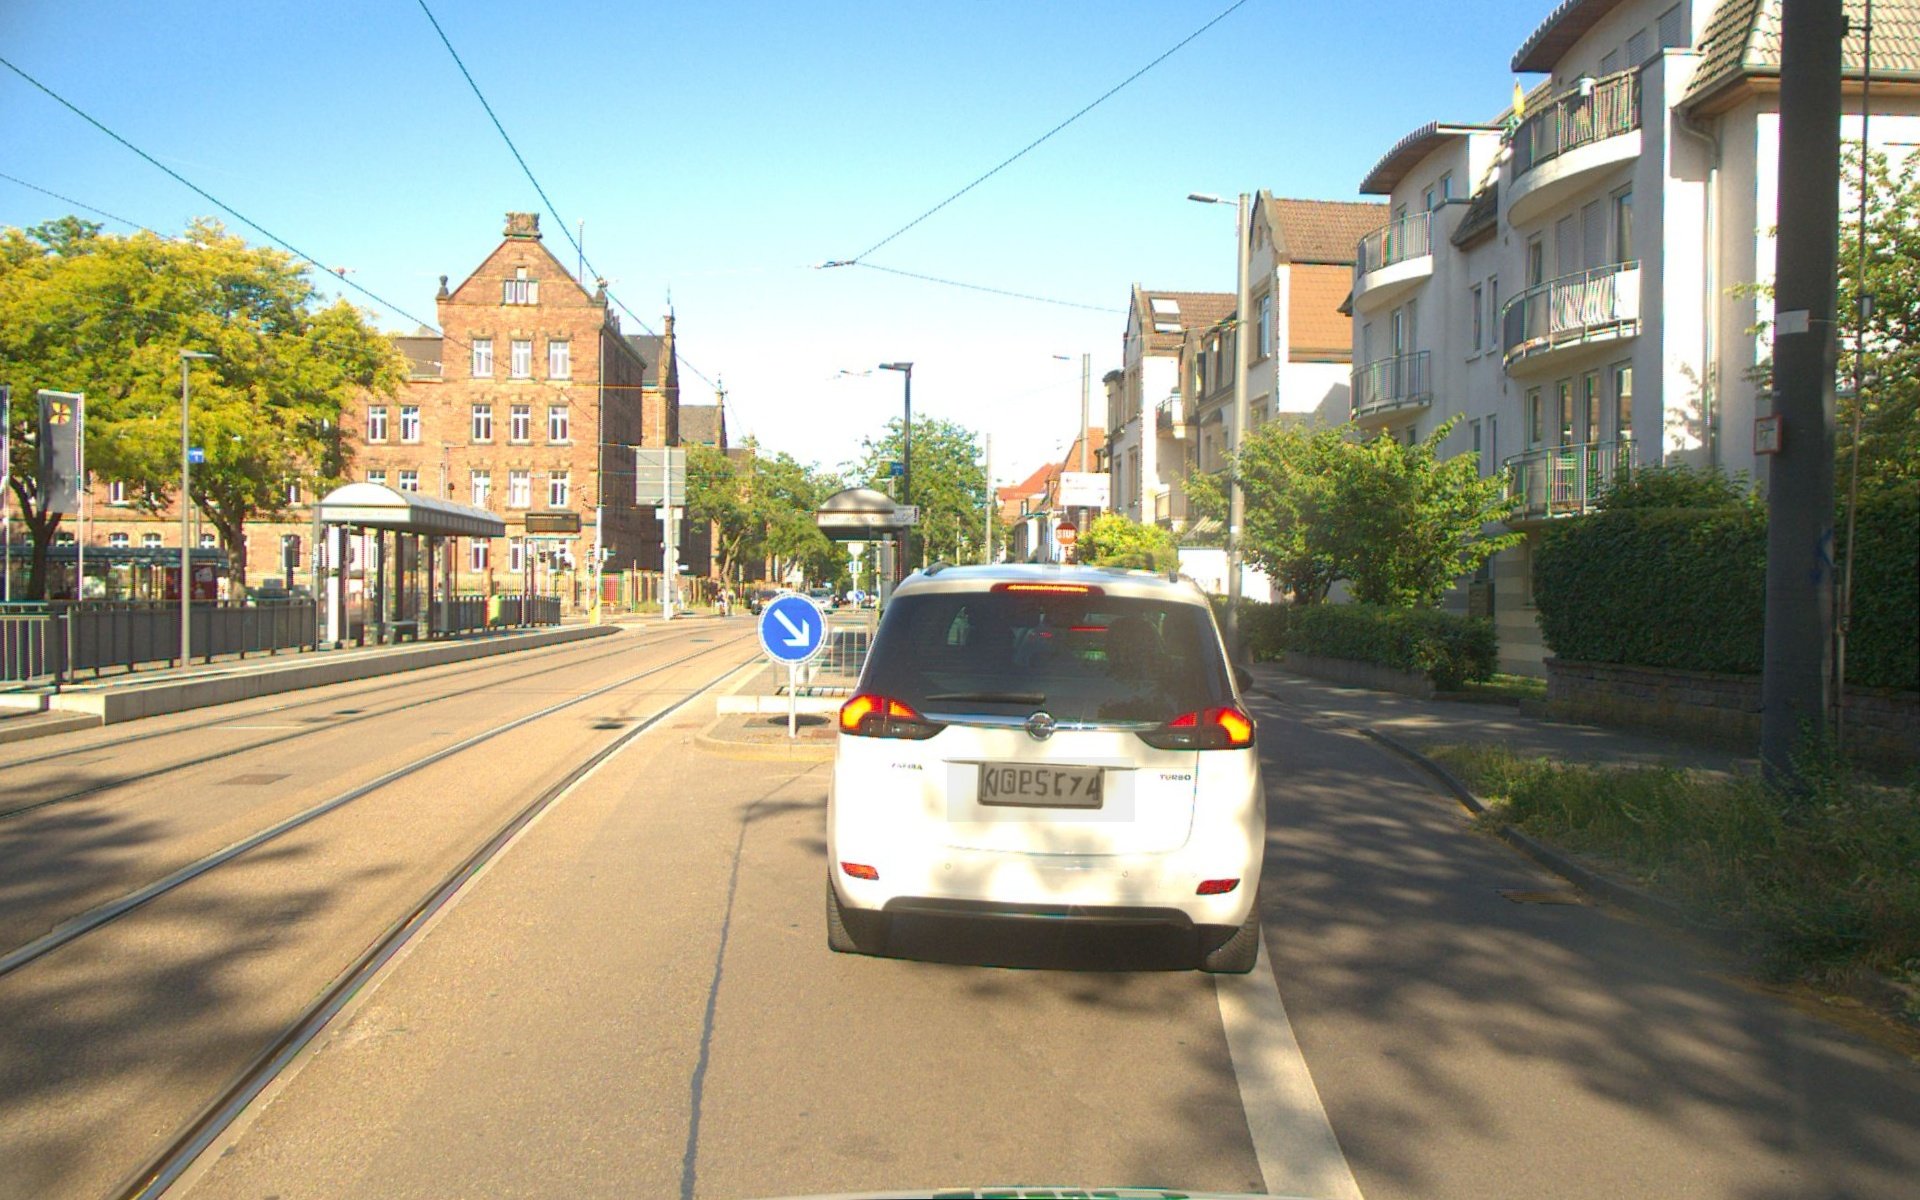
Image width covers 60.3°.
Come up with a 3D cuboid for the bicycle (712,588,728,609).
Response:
[{"bbox_3d":[-14.887,-0.103,102.756,0.805,1.319,2.675,0,0,-4],"label":"bicycle"}]

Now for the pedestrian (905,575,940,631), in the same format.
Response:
[{"bbox_3d":[-1.415,0.108,61.890,1.135,2.049,1.116,0,0,-12],"label":"pedestrian"}]

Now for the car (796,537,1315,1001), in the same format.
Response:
[{"bbox_3d":[0.522,0.652,8.042,1.852,1.639,4.231,0,-2,5],"label":"car"}]

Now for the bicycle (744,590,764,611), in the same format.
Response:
[{"bbox_3d":[-13.172,0.055,105.659,1.125,1.319,2.858,0,0,-4],"label":"bicycle"}]

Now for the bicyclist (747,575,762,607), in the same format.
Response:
[{"bbox_3d":[-13.138,-0.576,105.657,0.932,2.049,0.822,0,0,-6],"label":"bicyclist"}]

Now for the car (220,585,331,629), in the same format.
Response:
[{"bbox_3d":[-28.986,0.274,70.123,3.911,1.821,1.997,0,0,-7],"label":"car"}]

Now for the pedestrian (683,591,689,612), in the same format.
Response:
[{"bbox_3d":[-19.122,0.077,115.406,0.354,1.463,0.549,0,0,-1],"label":"pedestrian"}]

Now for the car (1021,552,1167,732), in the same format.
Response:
[{"bbox_3d":[1.759,0.477,20.862,1.672,2.049,3.909,0,0,7],"label":"car"}]

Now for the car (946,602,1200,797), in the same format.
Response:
[{"bbox_3d":[1.094,0.762,14.712,1.951,1.468,4.003,0,0,7],"label":"car"}]

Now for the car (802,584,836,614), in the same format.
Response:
[{"bbox_3d":[-9.130,-0.054,107.474,1.953,1.947,3.998,0,0,-2],"label":"car"}]

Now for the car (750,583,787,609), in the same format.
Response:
[{"bbox_3d":[-13.174,-0.297,113.899,1.952,1.752,4.001,0,0,2],"label":"car"}]

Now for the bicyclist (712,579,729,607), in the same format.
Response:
[{"bbox_3d":[-14.921,-0.436,103.042,0.925,1.765,0.860,0,0,-3],"label":"bicyclist"}]
